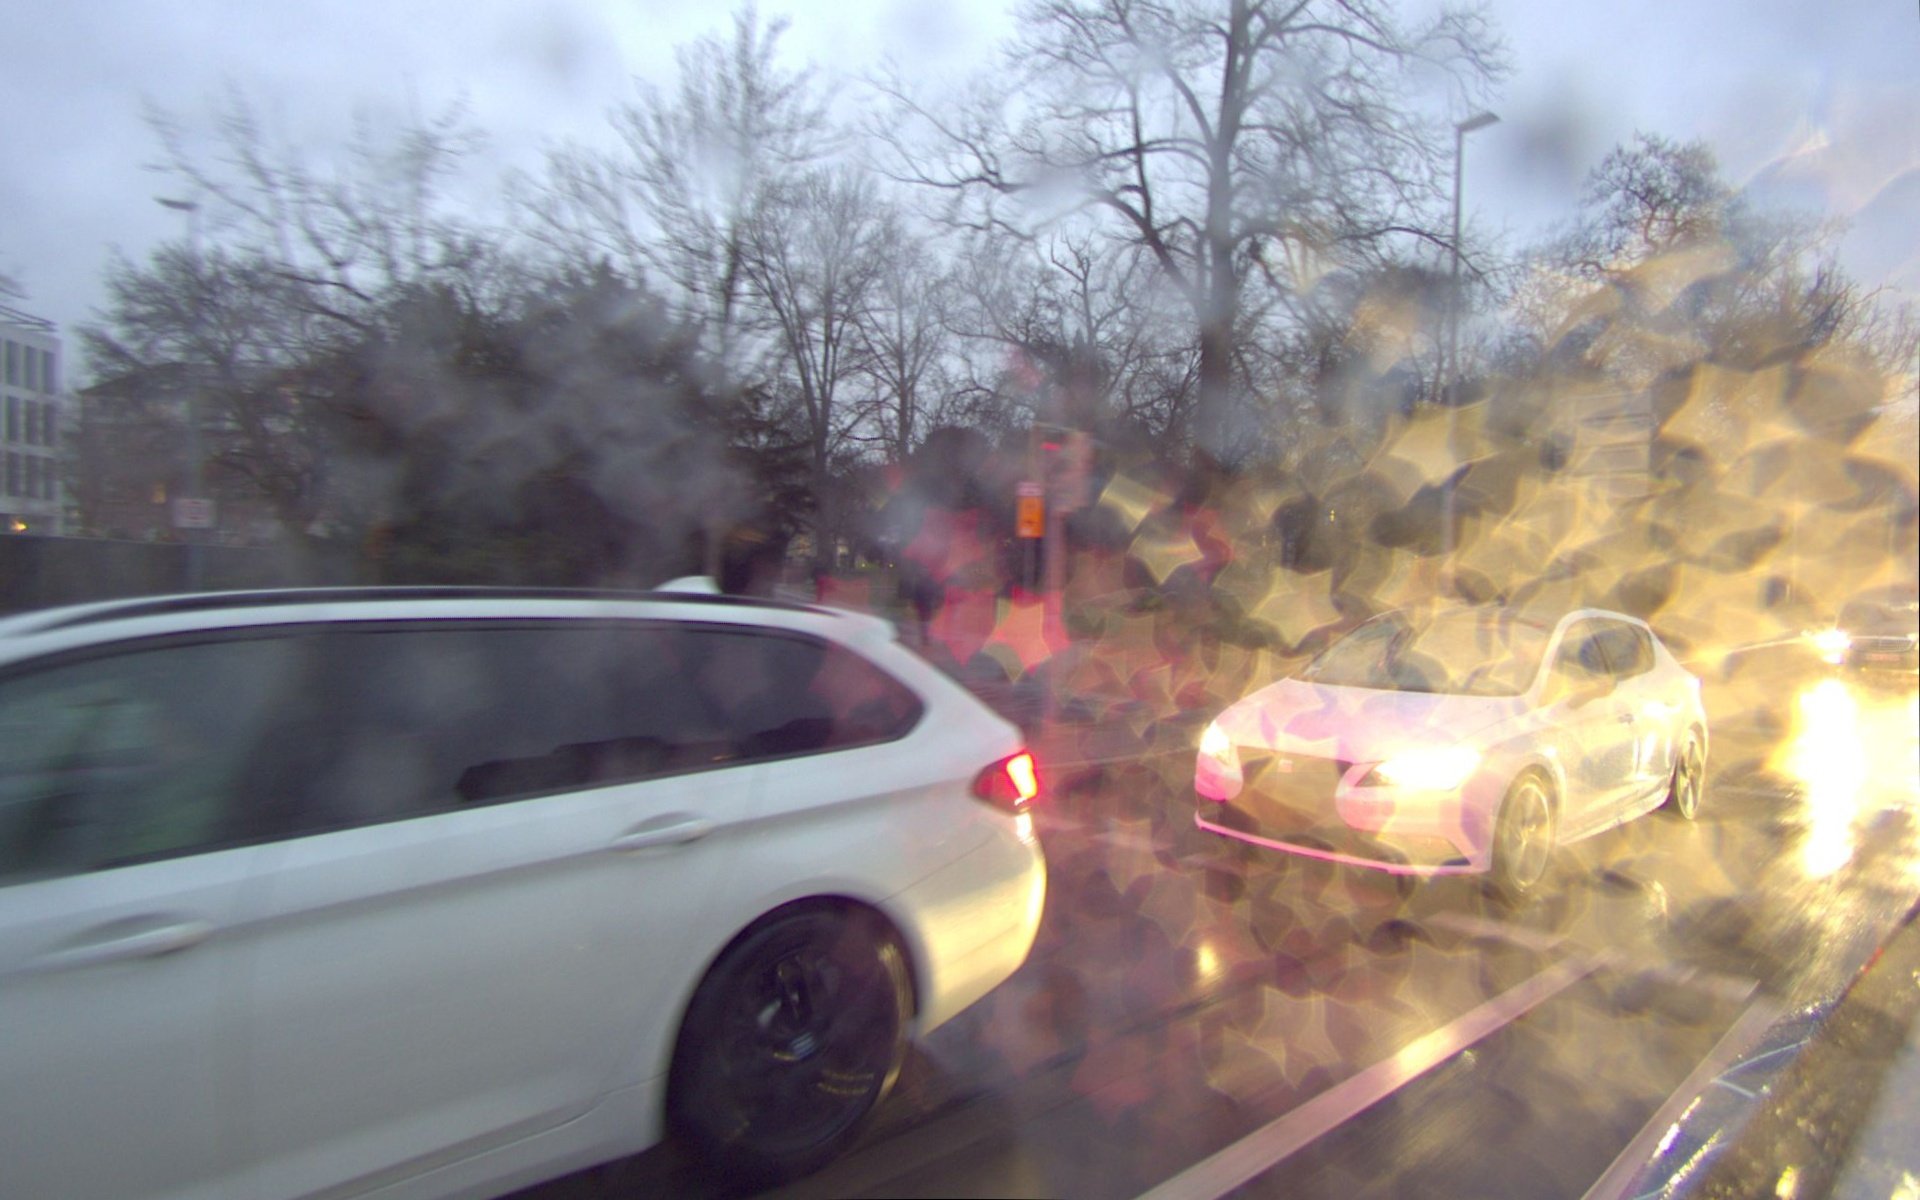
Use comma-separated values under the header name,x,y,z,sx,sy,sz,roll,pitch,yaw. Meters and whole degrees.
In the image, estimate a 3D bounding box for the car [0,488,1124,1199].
name,x,y,z,sx,sy,sz,roll,pitch,yaw
car,-1.961,0.567,2.445,4.876,1.520,1.792,-2,1,-37

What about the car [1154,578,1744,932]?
name,x,y,z,sx,sy,sz,roll,pitch,yaw
car,3.210,0.633,6.330,3.968,1.479,1.778,-2,2,-38

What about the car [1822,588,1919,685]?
name,x,y,z,sx,sy,sz,roll,pitch,yaw
car,17.291,0.599,18.406,4.007,1.516,1.879,-2,3,-41
